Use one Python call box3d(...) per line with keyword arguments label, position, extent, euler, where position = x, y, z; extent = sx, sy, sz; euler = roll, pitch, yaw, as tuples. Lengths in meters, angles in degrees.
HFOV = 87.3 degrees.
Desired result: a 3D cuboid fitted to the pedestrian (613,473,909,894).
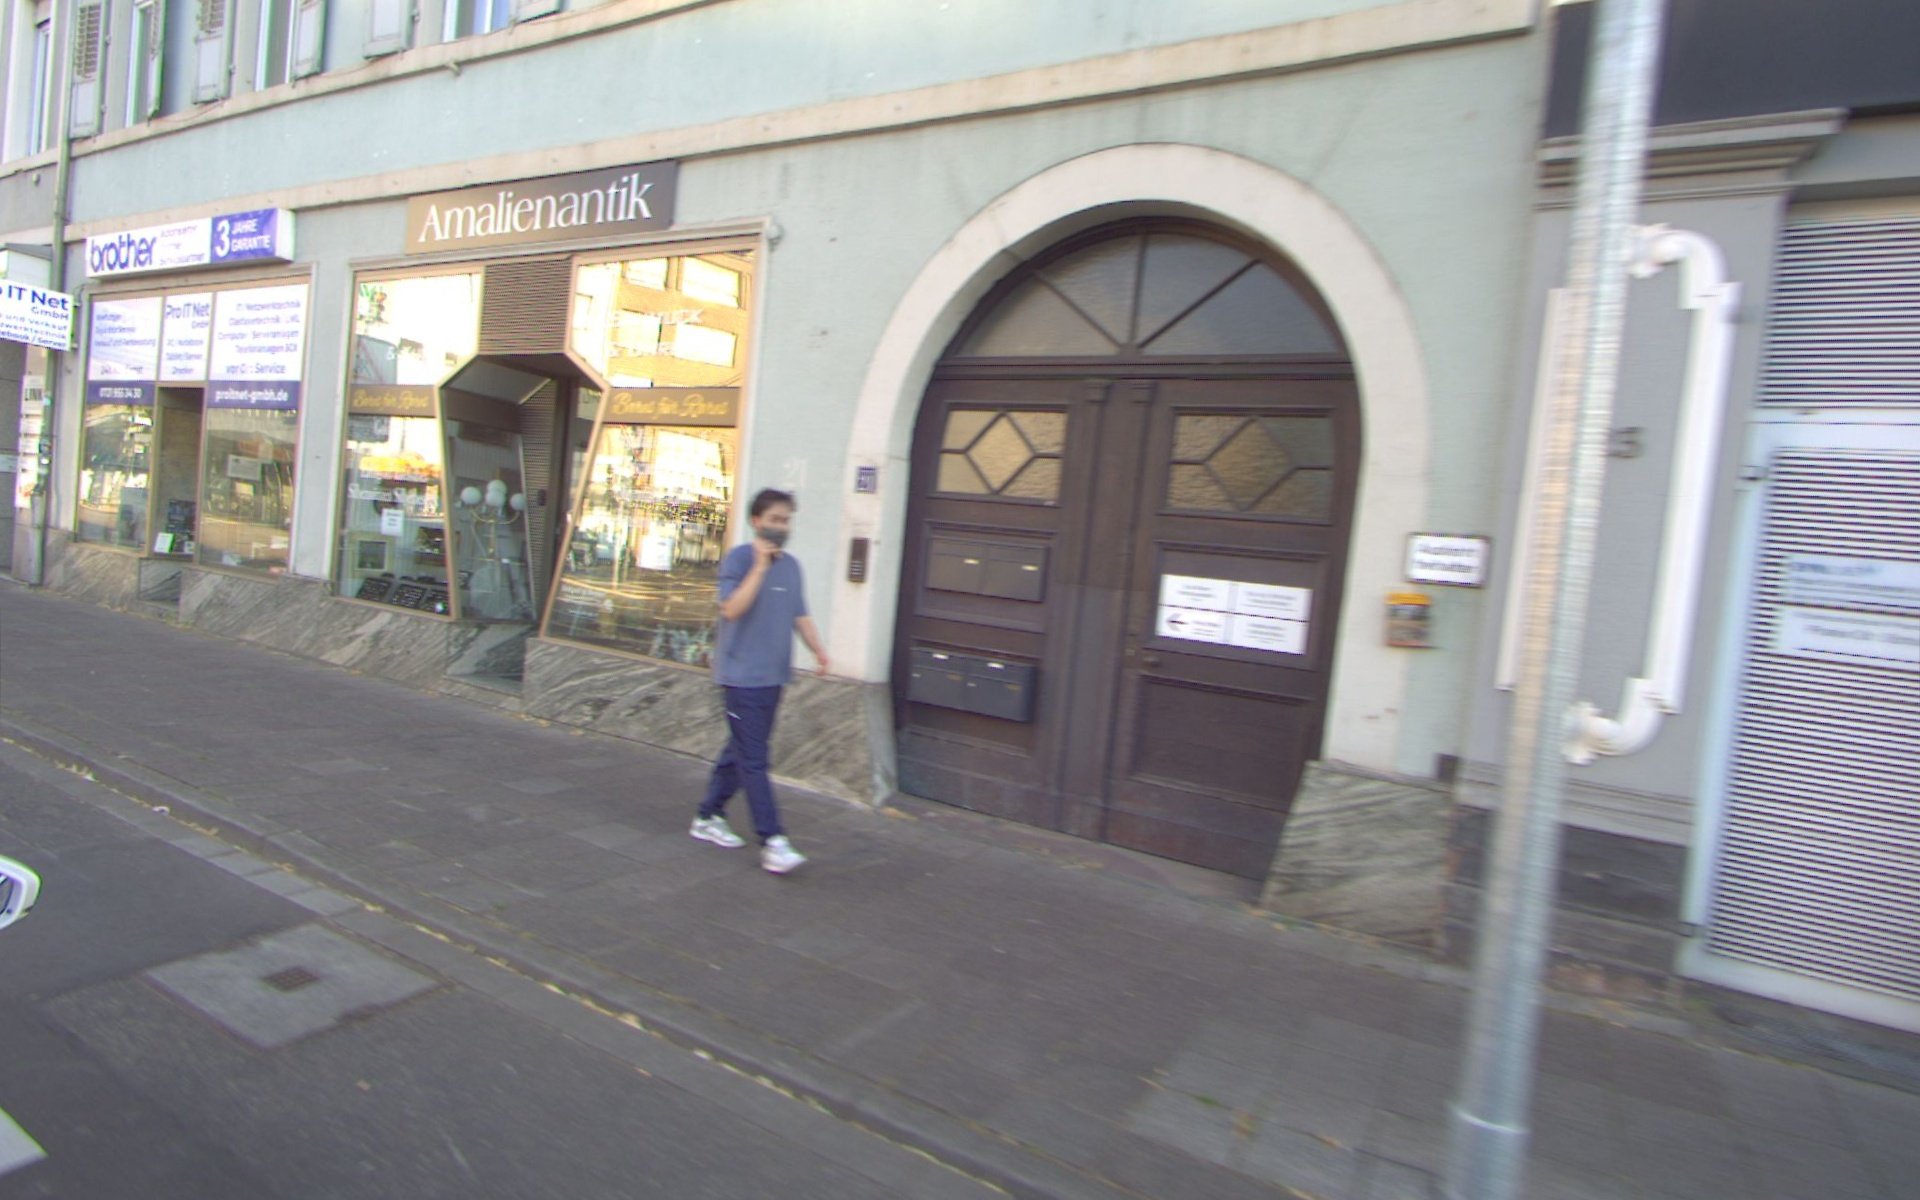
box3d(label="pedestrian", position=(-0.890, 0.331, 4.598), extent=(0.856, 1.663, 0.824), euler=(7, 3, 28))
